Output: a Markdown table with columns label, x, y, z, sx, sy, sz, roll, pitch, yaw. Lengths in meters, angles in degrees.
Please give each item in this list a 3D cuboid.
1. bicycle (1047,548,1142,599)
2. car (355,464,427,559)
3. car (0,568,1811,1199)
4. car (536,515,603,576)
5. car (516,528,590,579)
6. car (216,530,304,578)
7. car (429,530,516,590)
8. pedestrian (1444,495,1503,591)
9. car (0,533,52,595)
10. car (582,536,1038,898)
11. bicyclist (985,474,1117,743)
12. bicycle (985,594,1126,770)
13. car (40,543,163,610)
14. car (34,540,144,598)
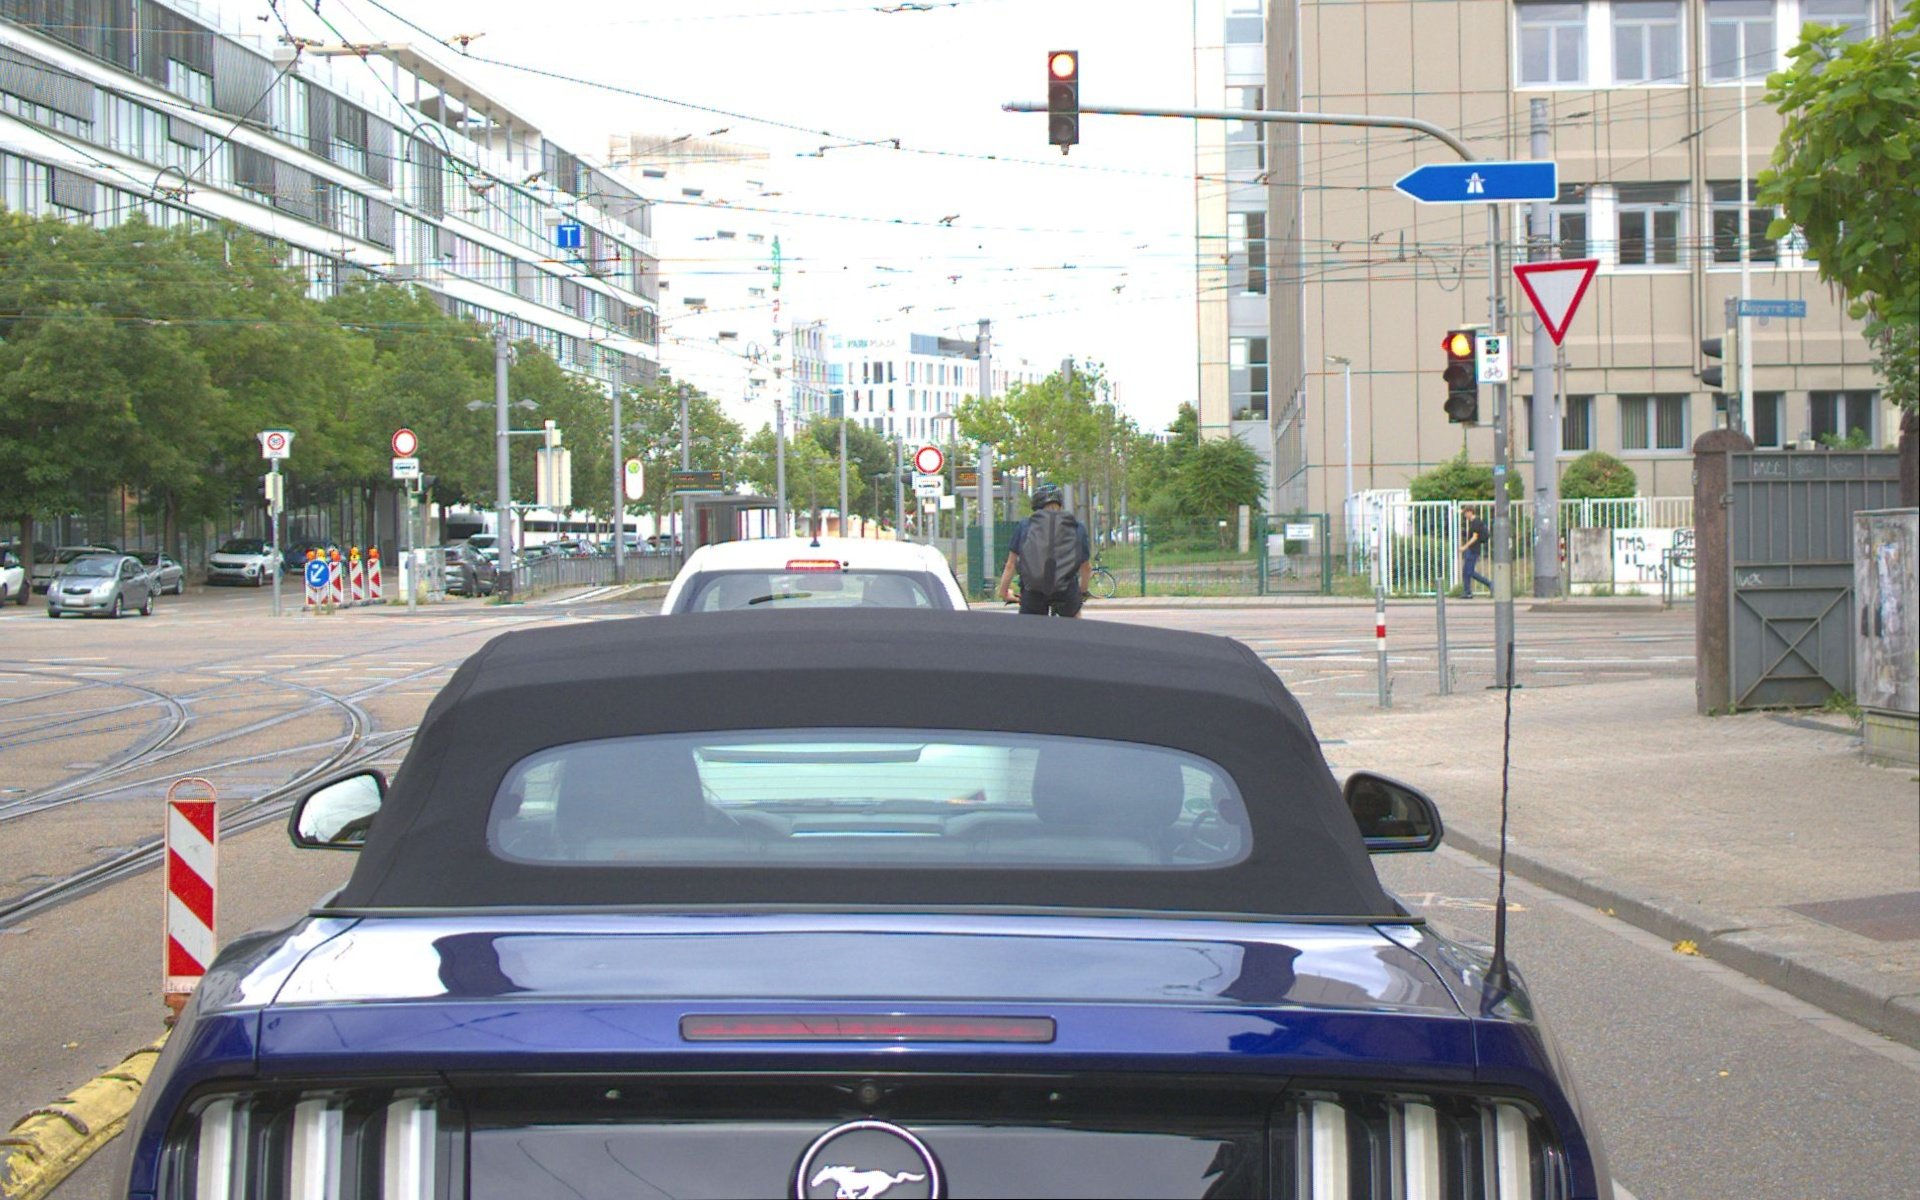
| label | x | y | z | sx | sy | sz | roll | pitch | yaw |
| --- | --- | --- | --- | --- | --- | --- | --- | --- | --- |
| bicycle | 2.835 | -0.561 | 72.720 | 0.632 | 0.977 | 2.157 | -2 | -1 | -42 |
| car | -22.381 | -3.472 | 135.334 | 1.986 | 3.624 | 4.512 | 1 | 1 | 1 |
| car | -0.152 | 0.688 | 5.407 | 1.876 | 1.399 | 4.282 | 1 | 1 | 0 |
| car | -13.138 | -1.854 | 115.945 | 1.785 | 1.980 | 4.121 | -1 | 1 | -1 |
| car | -13.094 | -1.517 | 110.782 | 1.868 | 1.600 | 4.213 | -1 | 1 | -1 |
| car | -23.672 | -1.573 | 116.344 | 1.986 | 1.551 | 4.512 | 1 | 1 | 1 |
| car | -13.772 | -1.149 | 97.250 | 1.879 | 1.623 | 4.087 | -1 | 1 | -1 |
| pedestrian | 10.256 | -1.139 | 68.641 | 1.086 | 1.891 | 0.902 | -1 | 1 | 5 |
| car | -25.597 | -0.977 | 90.926 | 1.830 | 1.551 | 4.216 | 1 | 1 | 3 |
| car | -0.778 | 0.434 | 16.112 | 1.835 | 1.434 | 4.188 | -1 | 1 | -5 |
| bicyclist | 0.609 | 0.042 | 23.453 | 0.796 | 1.779 | 1.233 | -1 | 1 | -2 |
| bicycle | 0.624 | 0.529 | 23.290 | 0.800 | 1.082 | 2.132 | -1 | 1 | -2 |
| car | -20.708 | -0.592 | 83.047 | 1.668 | 1.501 | 4.234 | 1 | 1 | 3 |
| car | -24.847 | -0.901 | 98.155 | 1.830 | 1.551 | 4.216 | 1 | 1 | 3 |
